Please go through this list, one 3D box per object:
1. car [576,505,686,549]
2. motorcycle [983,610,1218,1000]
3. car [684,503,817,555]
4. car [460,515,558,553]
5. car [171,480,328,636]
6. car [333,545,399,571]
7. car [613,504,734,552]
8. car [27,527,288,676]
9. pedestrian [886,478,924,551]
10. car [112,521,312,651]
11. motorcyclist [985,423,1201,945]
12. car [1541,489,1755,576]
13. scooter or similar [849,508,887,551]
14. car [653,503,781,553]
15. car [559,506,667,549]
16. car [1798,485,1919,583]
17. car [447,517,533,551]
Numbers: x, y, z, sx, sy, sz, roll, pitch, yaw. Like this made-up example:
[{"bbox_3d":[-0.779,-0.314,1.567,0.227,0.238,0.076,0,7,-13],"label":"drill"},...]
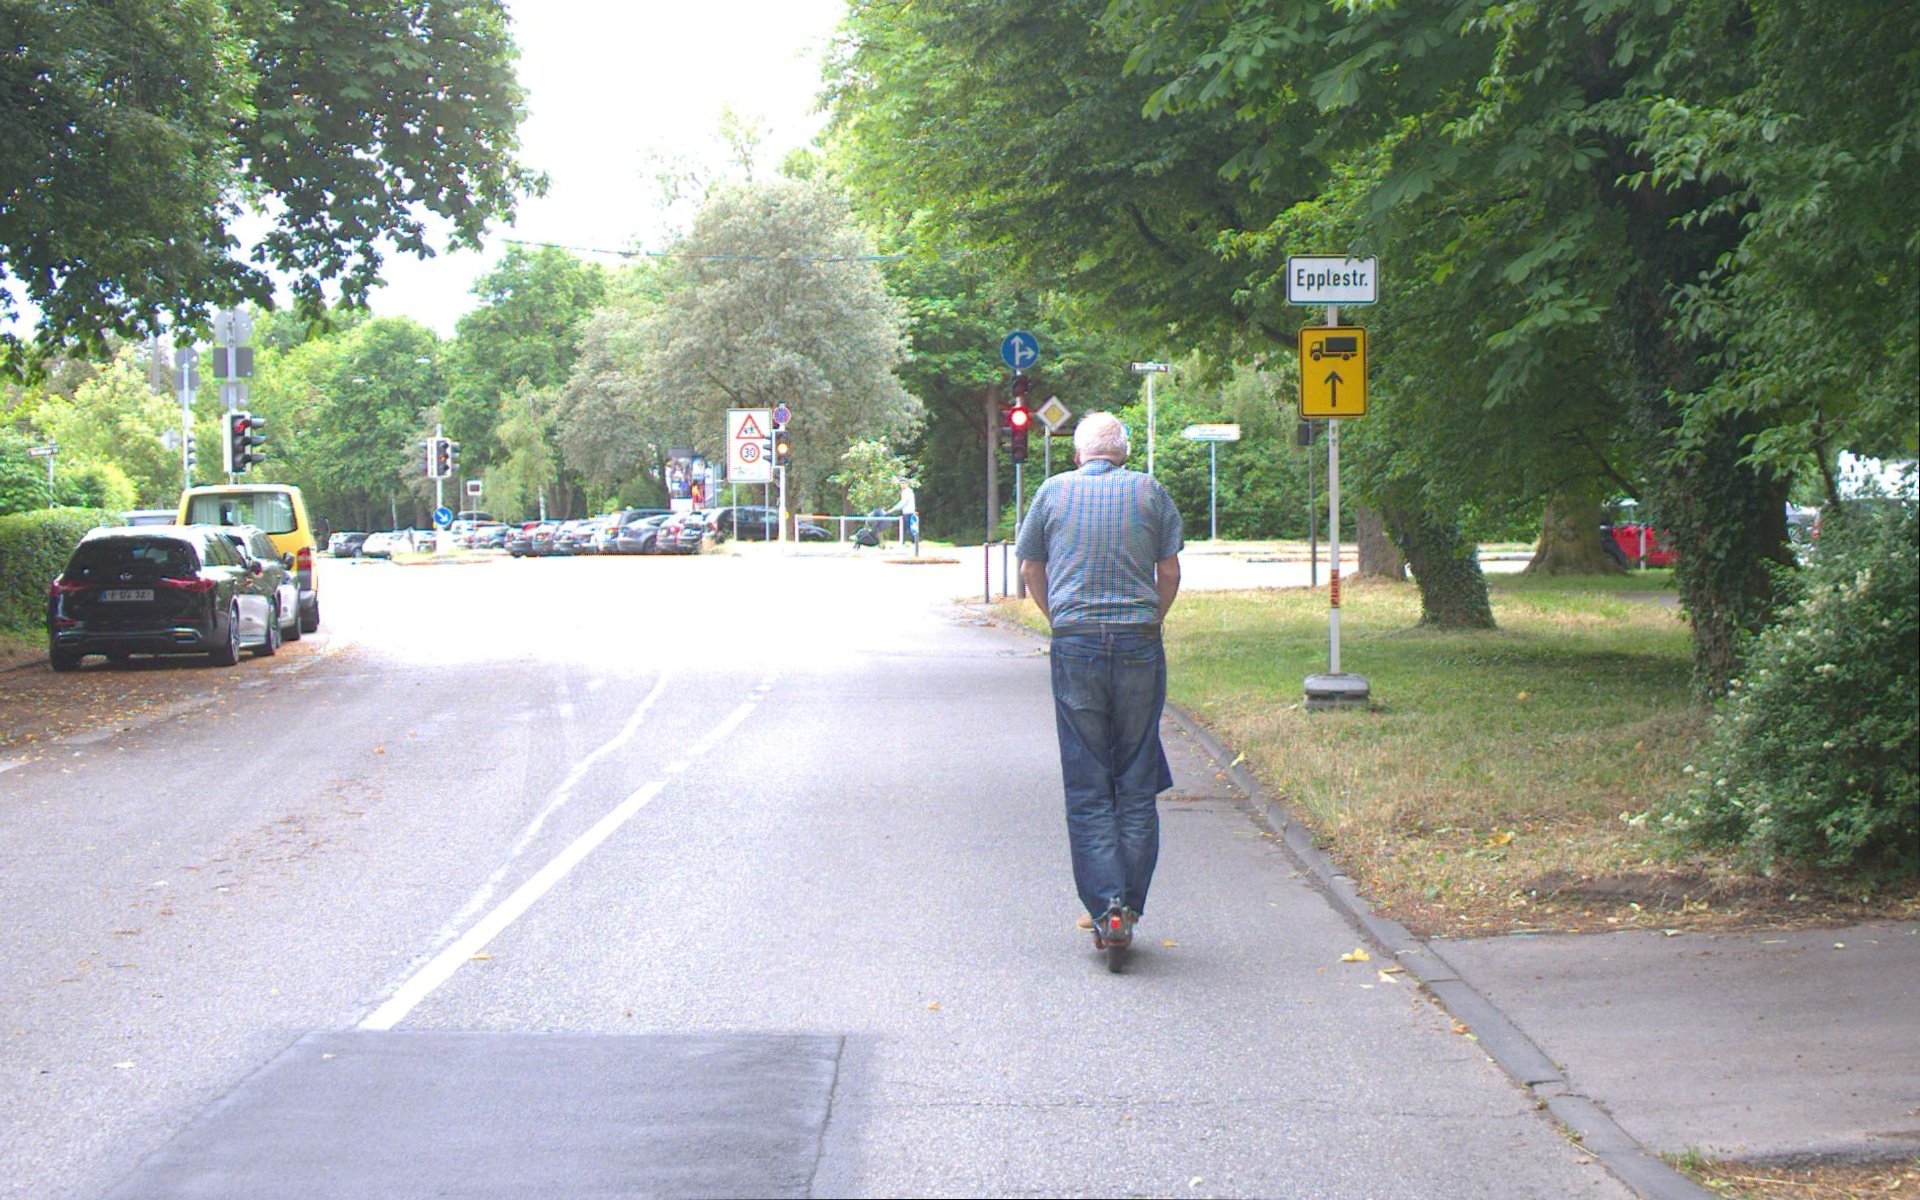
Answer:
[{"bbox_3d":[-12.190,-2.712,127.450,3.986,1.505,1.800,-2,2,-7],"label":"car"},{"bbox_3d":[0.458,0.665,11.720,0.672,1.213,1.274,1,1,-3],"label":"motorcycle"},{"bbox_3d":[-6.528,-2.209,106.676,3.986,1.505,1.800,-2,2,-7],"label":"car"},{"bbox_3d":[-18.780,-2.758,143.349,3.986,1.505,1.800,-2,2,-7],"label":"car"},{"bbox_3d":[-9.581,-0.580,46.613,1.857,1.957,4.506,-2,1,-10],"label":"car"},{"bbox_3d":[-37.244,-2.652,215.593,3.986,1.505,1.800,-2,2,-7],"label":"car"},{"bbox_3d":[-9.753,-2.464,116.874,3.986,1.505,1.800,-2,2,-7],"label":"car"},{"bbox_3d":[-8.270,-0.032,35.823,1.891,1.405,4.555,-2,1,-4],"label":"car"},{"bbox_3d":[-1.346,-2.098,84.021,0.733,1.755,0.661,-1,1,15],"label":"pedestrian"},{"bbox_3d":[-8.856,-0.213,41.009,1.794,1.411,4.190,-1,2,-5],"label":"car"},{"bbox_3d":[0.450,0.276,11.898,0.673,1.755,0.639,1,1,-3],"label":"motorcyclist"},{"bbox_3d":[13.398,-1.328,67.143,3.988,1.551,1.800,1,5,8],"label":"car"},{"bbox_3d":[-2.255,-1.731,84.277,0.710,1.045,0.787,-1,1,15],"label":"scooter or similar"},{"bbox_3d":[-7.791,-2.309,110.154,3.986,1.505,1.800,-2,2,-7],"label":"car"},{"bbox_3d":[-13.069,-2.732,129.292,3.986,1.505,1.800,-2,2,-7],"label":"car"},{"bbox_3d":[18.261,-1.263,66.018,3.991,1.720,1.798,2,5,21],"label":"car"},{"bbox_3d":[-22.372,-3.171,163.698,3.986,1.505,1.800,-2,2,-7],"label":"car"}]
